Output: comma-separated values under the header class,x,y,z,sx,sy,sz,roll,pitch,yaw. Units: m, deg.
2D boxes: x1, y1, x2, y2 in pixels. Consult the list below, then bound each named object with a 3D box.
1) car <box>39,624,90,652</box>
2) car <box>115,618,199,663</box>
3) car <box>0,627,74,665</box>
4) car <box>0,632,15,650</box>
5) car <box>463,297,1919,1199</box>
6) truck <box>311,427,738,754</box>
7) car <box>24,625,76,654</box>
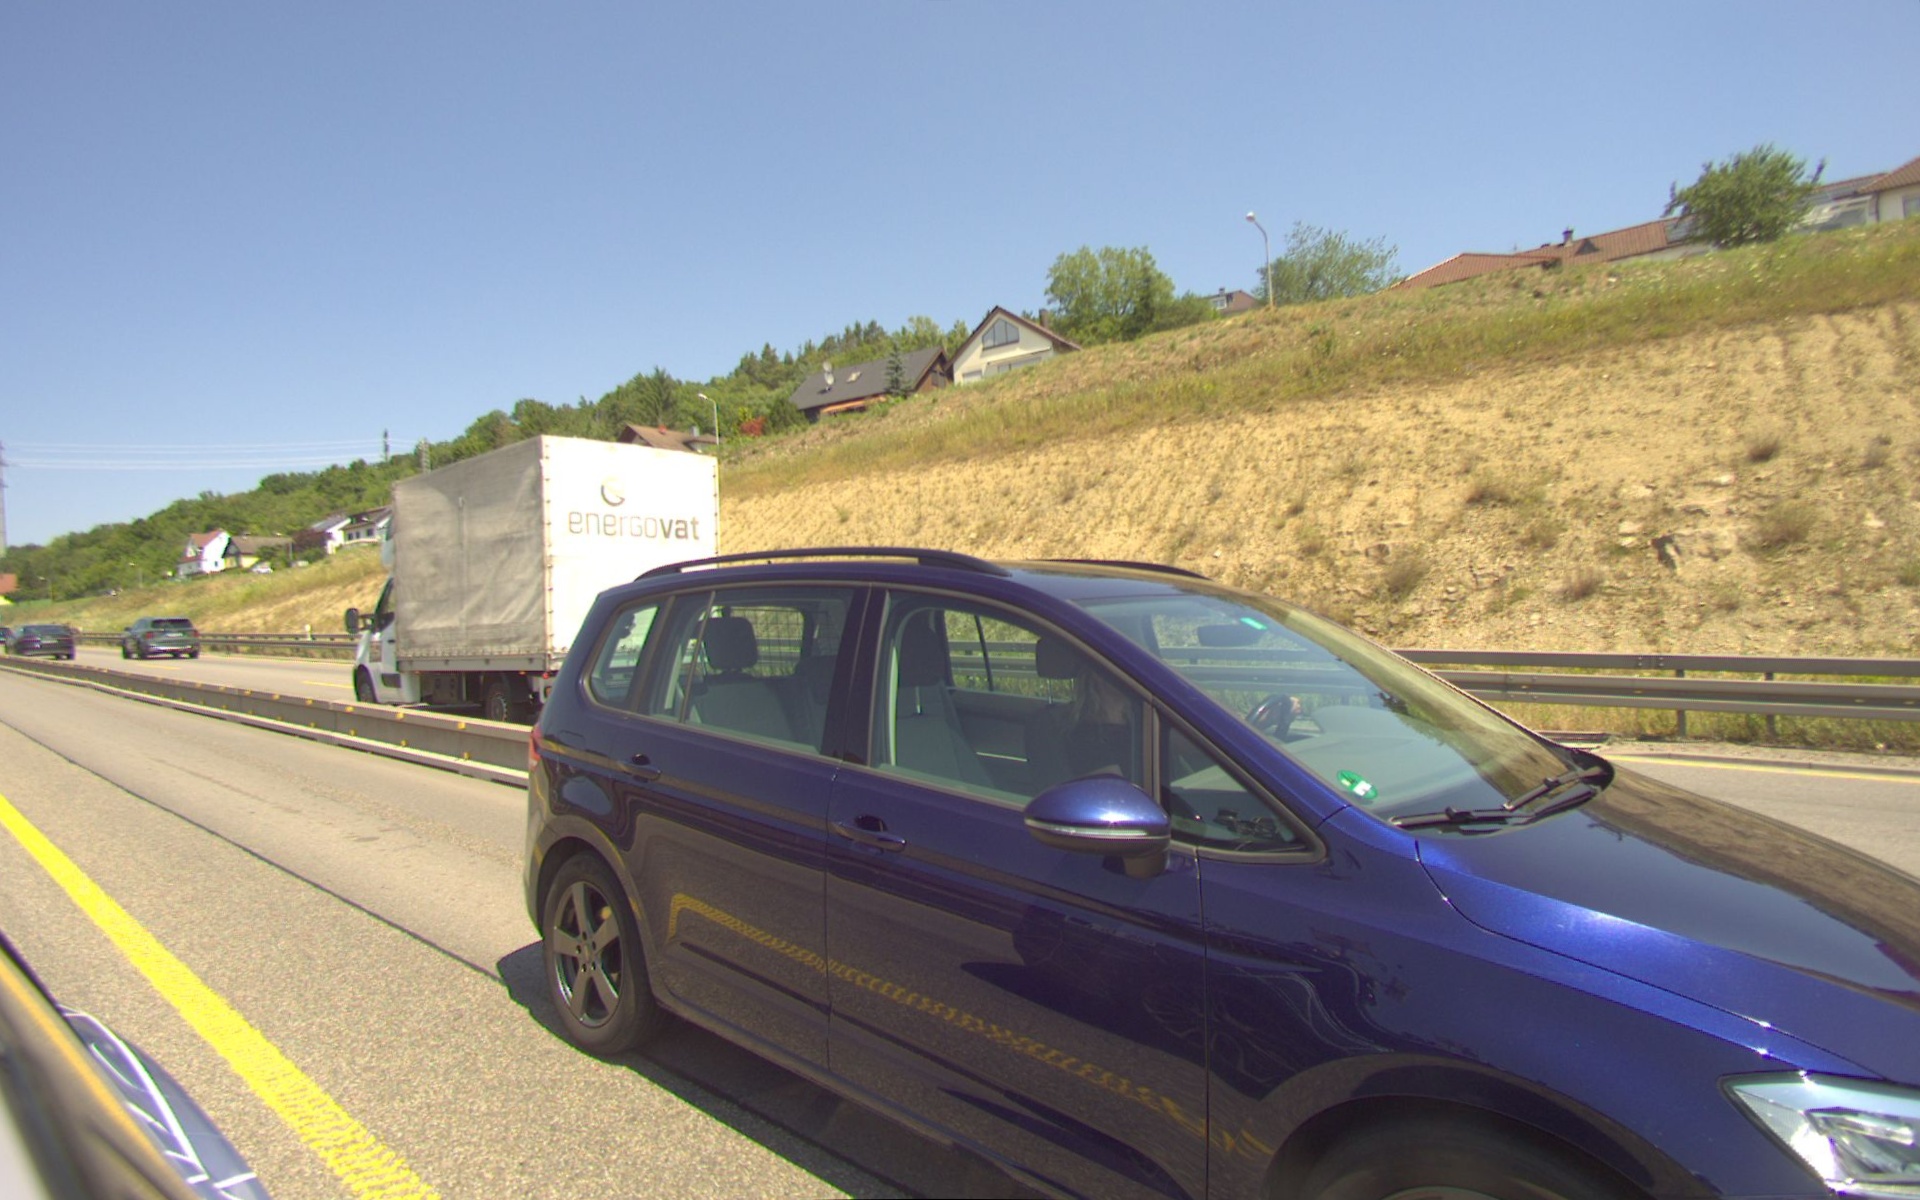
class,x,y,z,sx,sy,sz,roll,pitch,yaw
car,-52.641,2.228,59.480,4.334,1.506,1.757,-3,-2,42
car,-32.236,1.613,40.598,4.666,1.684,1.835,-2,-1,41
car,-38.025,1.844,41.601,4.947,1.438,1.778,-2,-1,41
car,-75.924,3.242,79.769,4.240,1.429,1.692,-2,-1,41
car,0.452,0.571,2.949,4.650,1.731,1.757,-3,-2,41
truck,-6.223,-0.033,13.786,7.034,3.399,2.512,-2,-1,41
car,-53.253,2.283,59.198,5.123,1.597,1.667,-2,-1,41
